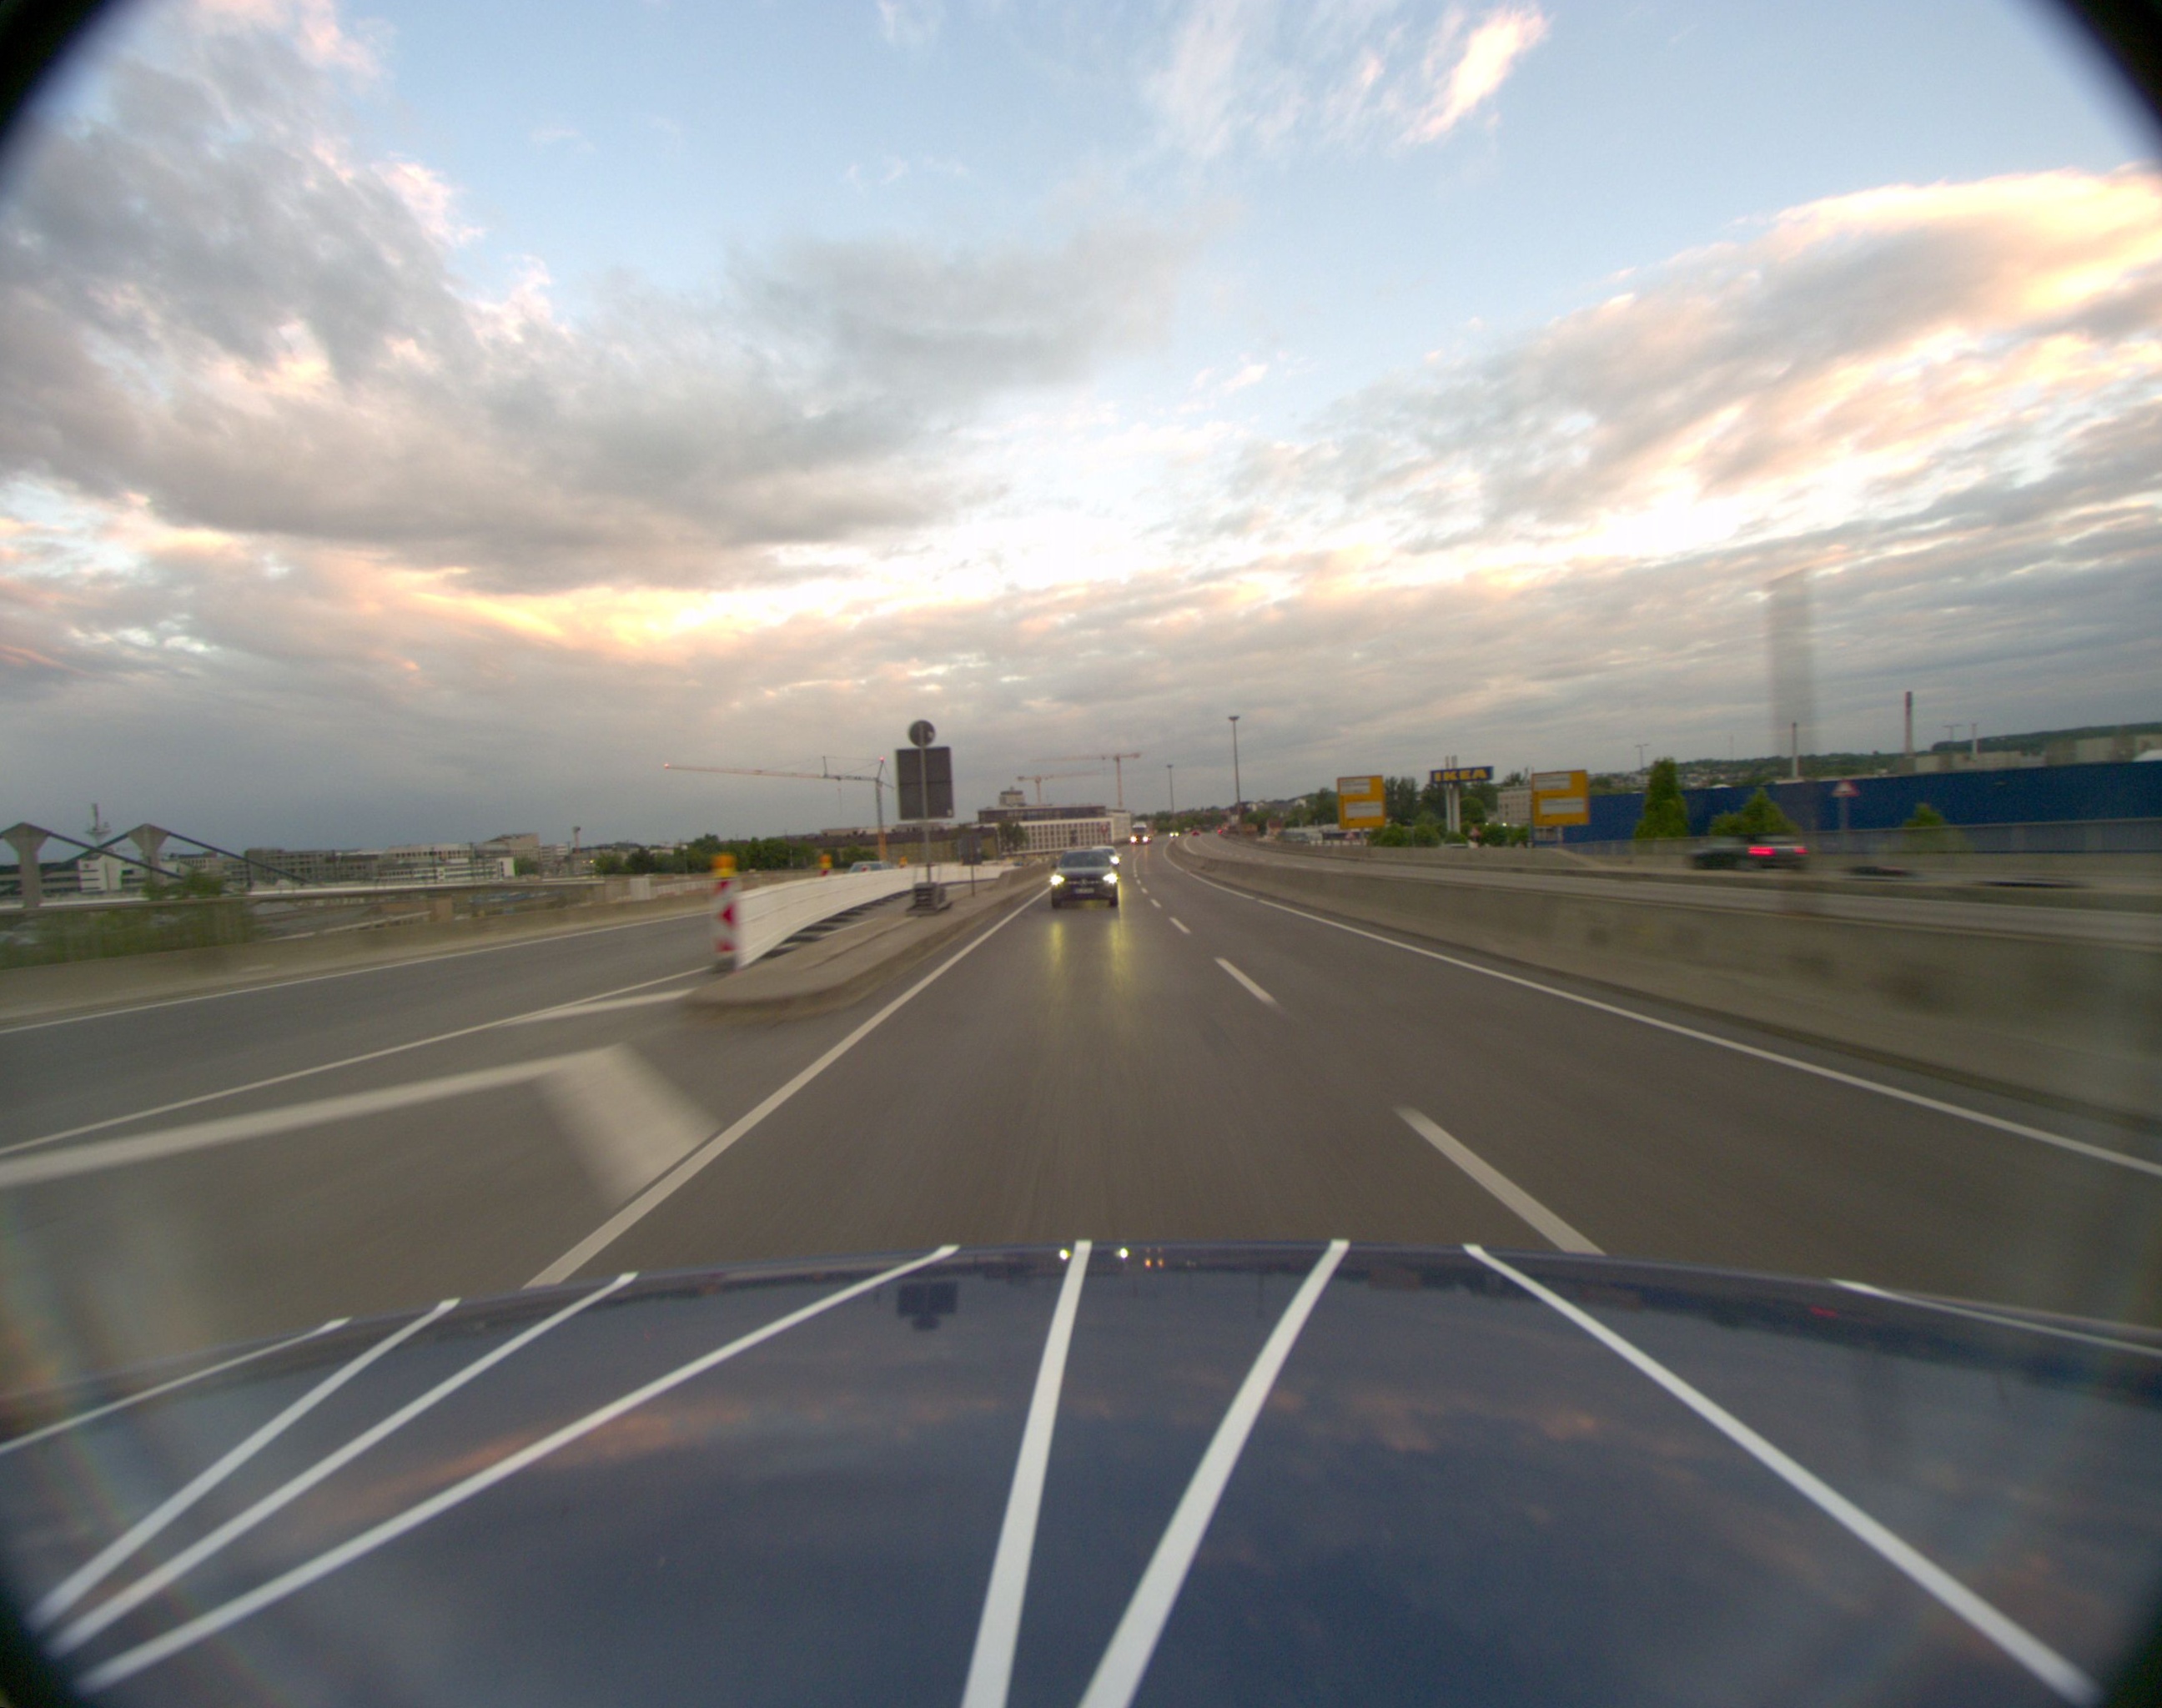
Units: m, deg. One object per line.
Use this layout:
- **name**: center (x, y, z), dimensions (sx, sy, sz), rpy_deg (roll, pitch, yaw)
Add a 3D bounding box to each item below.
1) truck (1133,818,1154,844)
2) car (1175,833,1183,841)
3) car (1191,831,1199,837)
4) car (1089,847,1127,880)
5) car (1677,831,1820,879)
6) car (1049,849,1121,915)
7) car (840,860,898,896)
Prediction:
- **truck**: center (11.240, -4.119, 136.101), dimensions (3.164, 4.370, 8.795), rpy_deg (-2, 2, 8)
- **car**: center (26.321, -4.500, 204.248), dimensions (1.997, 2.002, 4.002), rpy_deg (-2, 1, 10)
- **car**: center (30.069, -5.315, 200.328), dimensions (1.832, 1.472, 4.289), rpy_deg (-2, 2, 10)
- **car**: center (1.479, 0.462, 41.901), dimensions (1.891, 1.641, 4.344), rpy_deg (-2, 0, 2)
- **car**: center (23.169, 0.016, 26.574), dimensions (1.800, 1.477, 3.842), rpy_deg (-2, 1, 5)
- **car**: center (0.164, 0.715, 22.044), dimensions (1.823, 1.603, 4.212), rpy_deg (-2, 1, 2)
- **car**: center (-9.601, 1.044, 34.666), dimensions (1.755, 1.482, 3.998), rpy_deg (-2, 0, -5)
